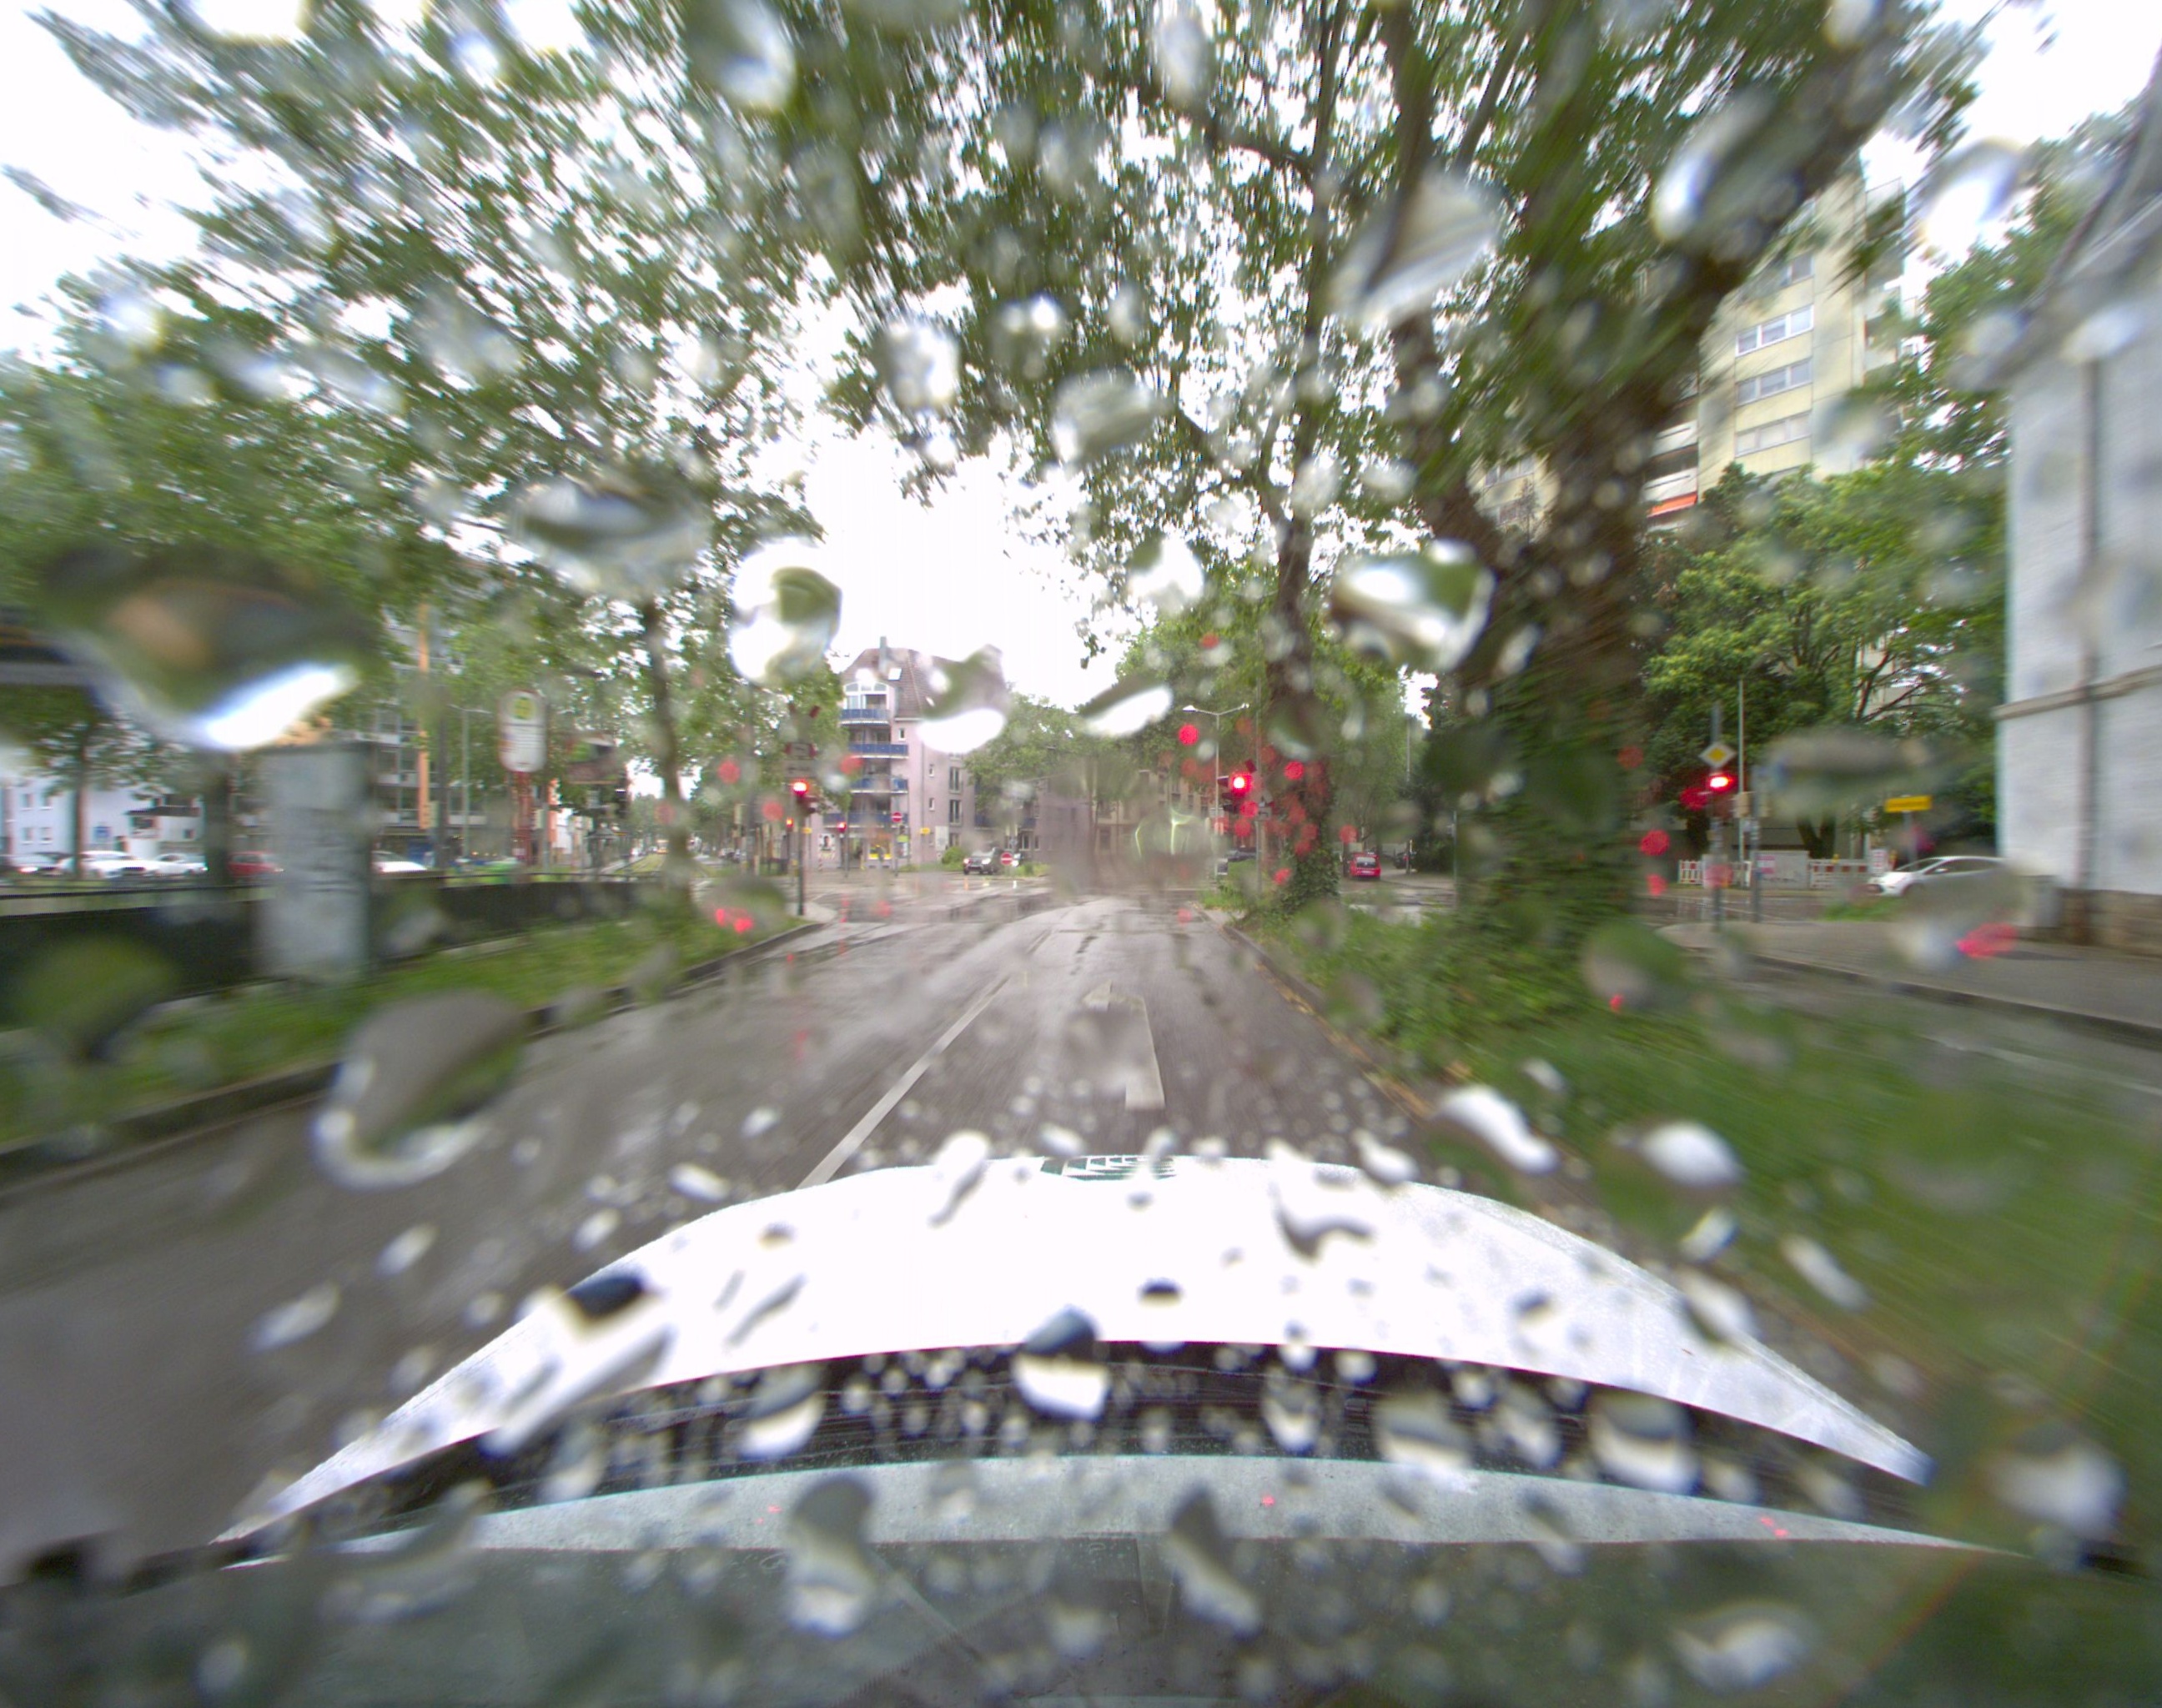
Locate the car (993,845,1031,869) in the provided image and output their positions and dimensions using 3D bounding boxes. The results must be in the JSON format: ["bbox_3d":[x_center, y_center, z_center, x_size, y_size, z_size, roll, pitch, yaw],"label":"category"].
[{"bbox_3d":[-4.777,0.211,56.584,1.714,1.552,3.569,-2,0,9],"label":"car"}]

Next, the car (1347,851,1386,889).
[{"bbox_3d":[16.469,0.891,46.929,1.977,2.013,4.020,-2,0,20],"label":"car"}]

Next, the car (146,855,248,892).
[{"bbox_3d":[-42.660,0.920,39.313,3.753,1.639,1.732,-2,0,15],"label":"car"}]

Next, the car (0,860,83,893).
[{"bbox_3d":[-54.750,1.180,42.649,3.753,1.639,1.732,-2,0,15],"label":"car"}]

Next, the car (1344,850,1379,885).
[{"bbox_3d":[17.764,0.815,51.503,1.977,2.013,4.020,-2,0,20],"label":"car"}]

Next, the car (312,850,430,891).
[{"bbox_3d":[-31.017,0.694,35.620,3.976,1.651,1.981,-2,0,15],"label":"car"}]

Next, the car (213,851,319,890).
[{"bbox_3d":[-37.216,0.755,37.218,3.753,1.639,1.732,-2,0,15],"label":"car"}]

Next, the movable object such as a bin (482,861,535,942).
[{"bbox_3d":[-8.031,0.650,11.437,0.417,1.090,0.529,-2,0,-13],"label":"movable object such as a bin"}]

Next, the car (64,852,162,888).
[{"bbox_3d":[-48.739,0.801,41.022,3.753,1.639,1.732,-2,0,15],"label":"car"}]

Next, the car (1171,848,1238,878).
[{"bbox_3d":[6.687,0.478,44.054,3.455,1.523,1.525,-2,0,12],"label":"car"}]

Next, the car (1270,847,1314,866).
[{"bbox_3d":[19.671,0.240,75.996,3.571,1.618,1.692,-1,0,32],"label":"car"}]

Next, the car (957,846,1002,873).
[{"bbox_3d":[-6.255,0.305,50.527,1.714,1.552,3.569,-2,0,9],"label":"car"}]

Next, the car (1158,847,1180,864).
[{"bbox_3d":[8.533,0.092,78.533,1.590,1.552,3.574,-2,0,14],"label":"car"}]

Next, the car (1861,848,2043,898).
[{"bbox_3d":[27.938,0.620,26.279,3.610,1.486,1.733,-2,0,20],"label":"car"}]
